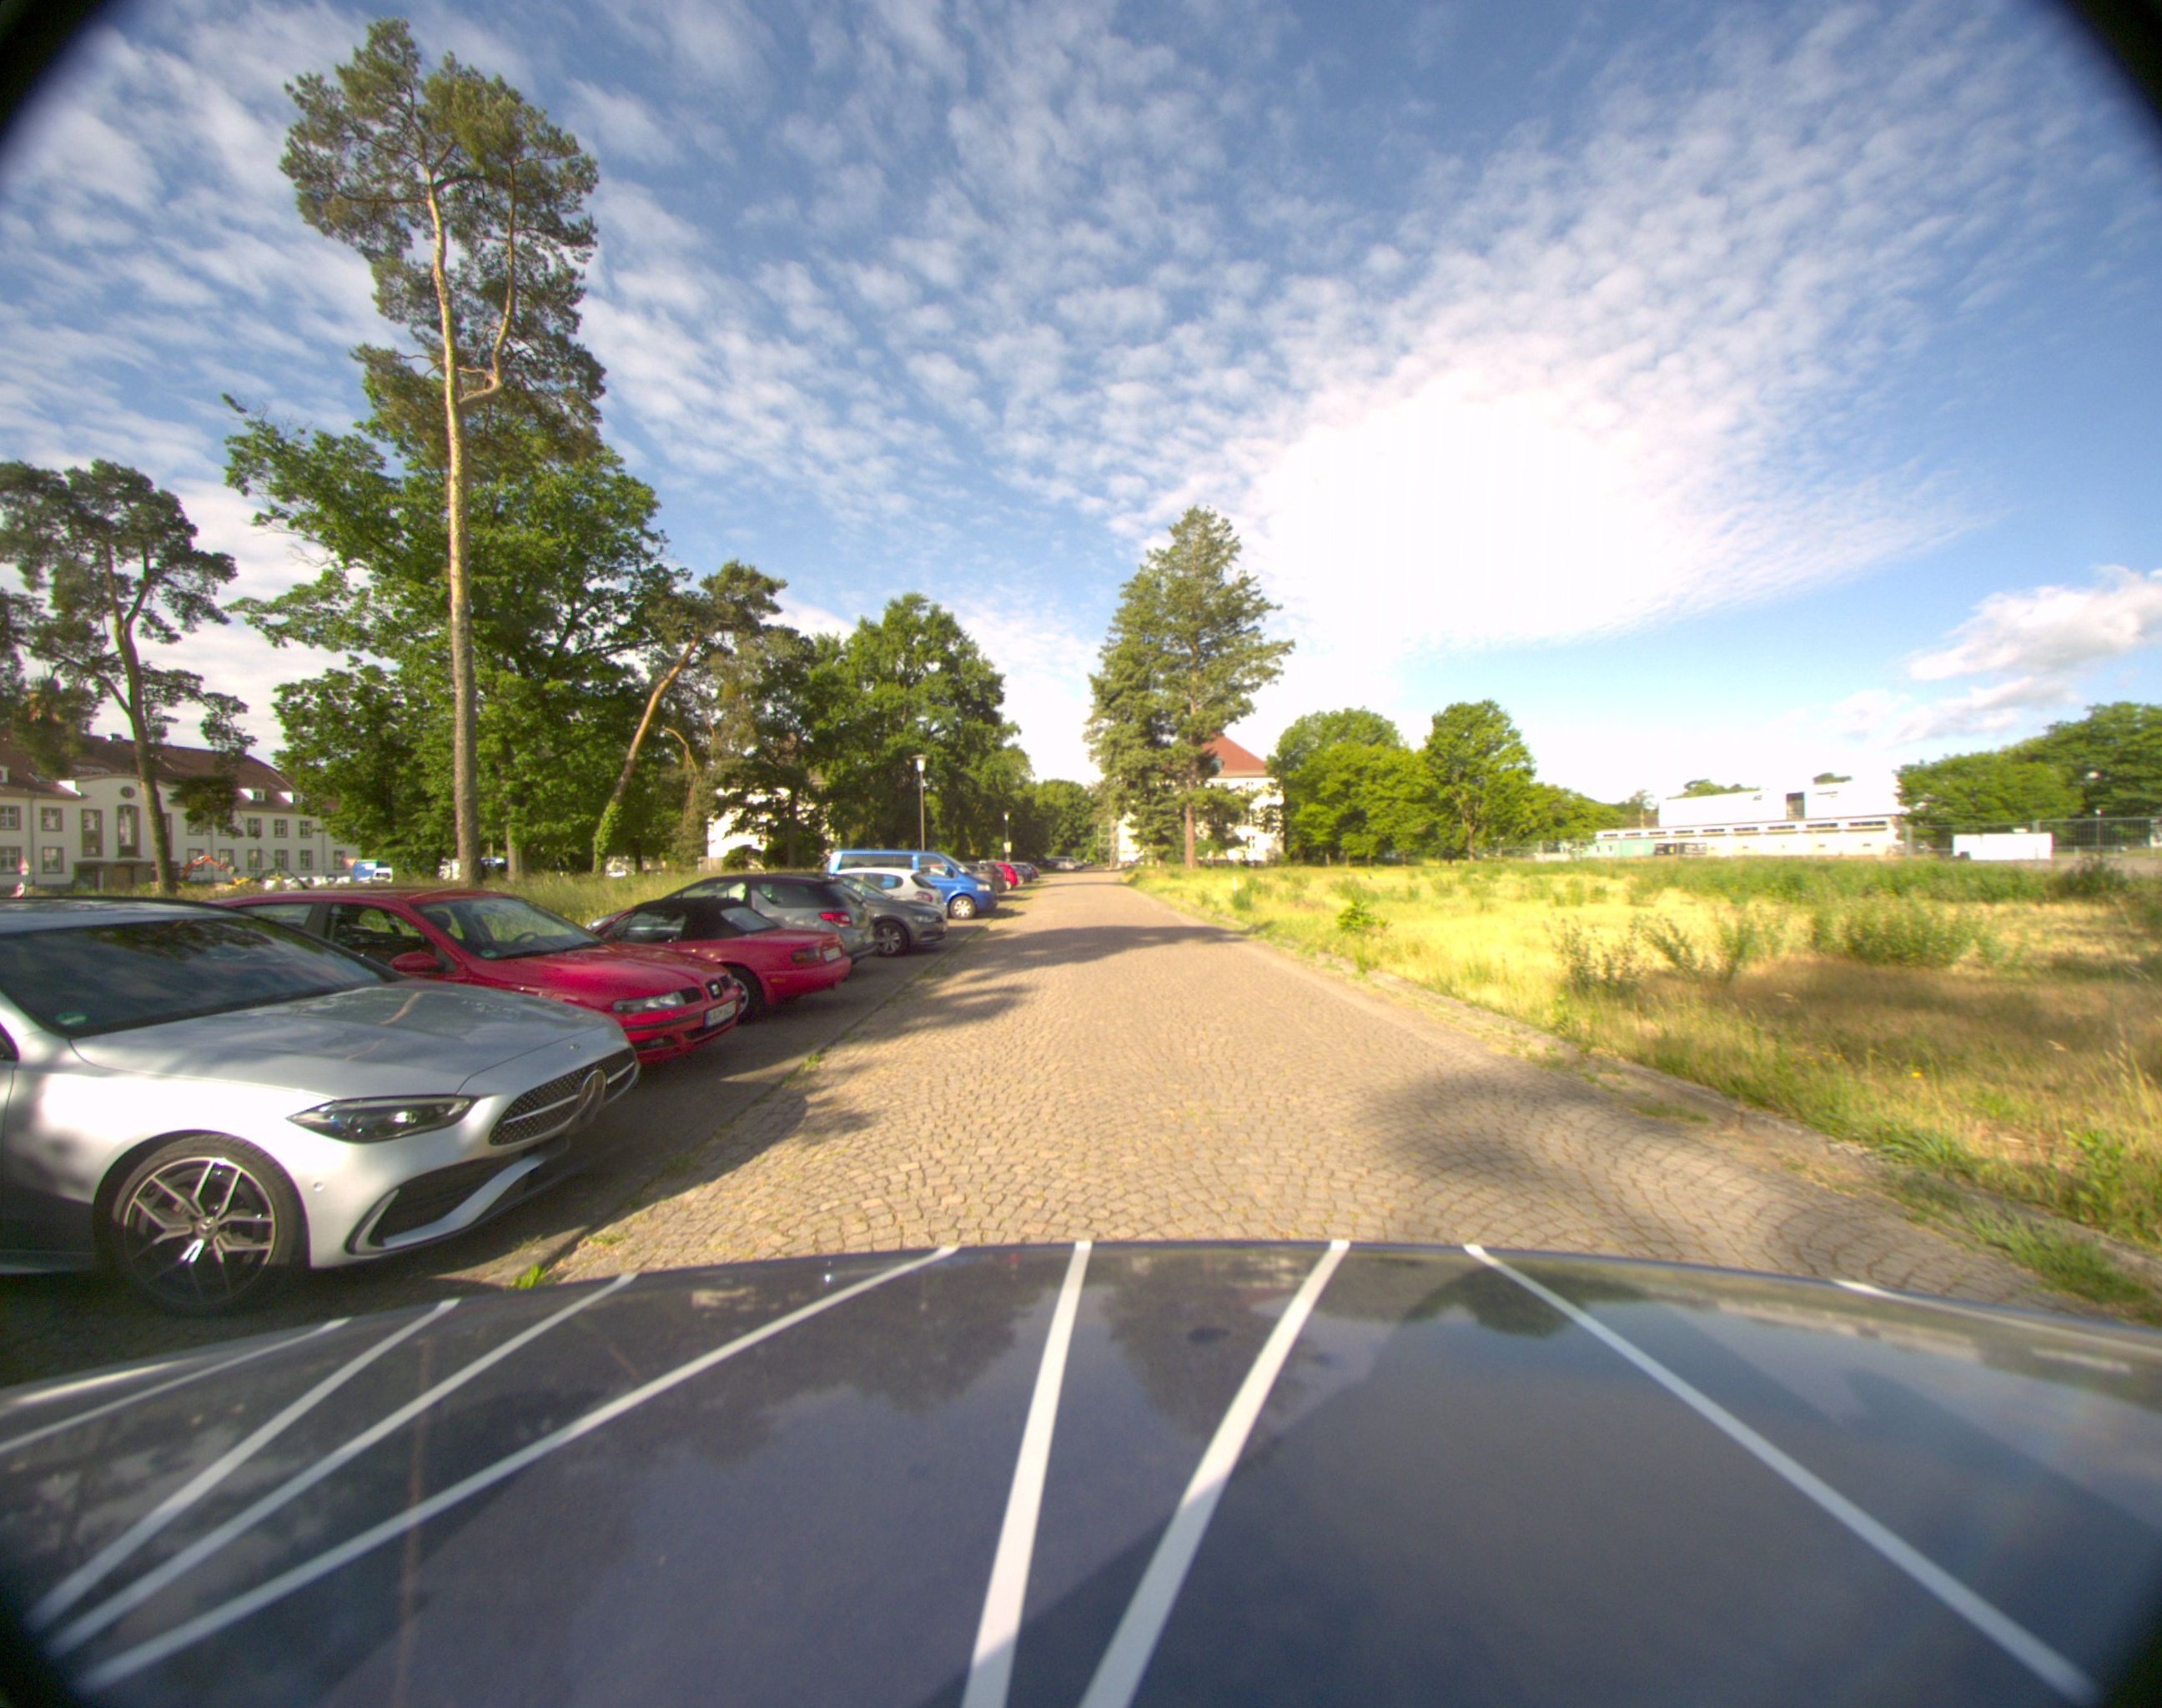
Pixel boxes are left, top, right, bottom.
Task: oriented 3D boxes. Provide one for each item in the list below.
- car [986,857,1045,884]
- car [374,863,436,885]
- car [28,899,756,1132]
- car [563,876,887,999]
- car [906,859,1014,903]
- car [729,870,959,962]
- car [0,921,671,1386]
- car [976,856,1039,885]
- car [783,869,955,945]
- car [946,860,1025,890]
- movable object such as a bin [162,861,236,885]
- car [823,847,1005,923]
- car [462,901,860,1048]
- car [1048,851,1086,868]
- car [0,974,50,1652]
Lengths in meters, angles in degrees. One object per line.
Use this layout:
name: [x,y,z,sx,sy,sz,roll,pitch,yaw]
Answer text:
car: [-4.832,1.201,56.141,3.996,1.605,1.757,-4,1,4]
car: [-69.026,2.014,77.648,1.998,2.002,4.773,-1,0,1]
car: [-4.764,1.087,5.718,3.918,1.385,1.661,0,0,-1]
car: [-4.834,1.112,10.676,3.779,1.482,1.549,-1,0,-1]
car: [-4.854,1.075,30.801,3.996,1.630,1.757,-1,0,3]
car: [-4.180,1.079,13.630,3.621,1.482,1.509,-1,0,9]
car: [-4.570,1.087,3.439,4.423,1.394,1.826,0,0,-1]
car: [-4.928,1.072,51.348,3.996,1.731,1.757,-3,0,3]
car: [-4.520,1.118,16.479,3.264,1.482,1.449,-1,0,2]
car: [-5.145,1.097,41.159,3.996,1.509,1.757,-1,0,3]
movable object such as a bin: [-91.131,1.904,78.632,1.999,2.309,4.985,-1,0,-4]
car: [-4.694,0.856,21.865,4.726,2.002,2.000,-1,0,1]
car: [-4.230,1.196,8.001,3.357,1.248,1.420,-1,0,-1]
car: [-1.888,0.768,104.819,5.068,2.251,2.000,-1,0,0]
car: [-4.623,1.036,0.725,4.507,1.508,1.825,0,0,-4]
